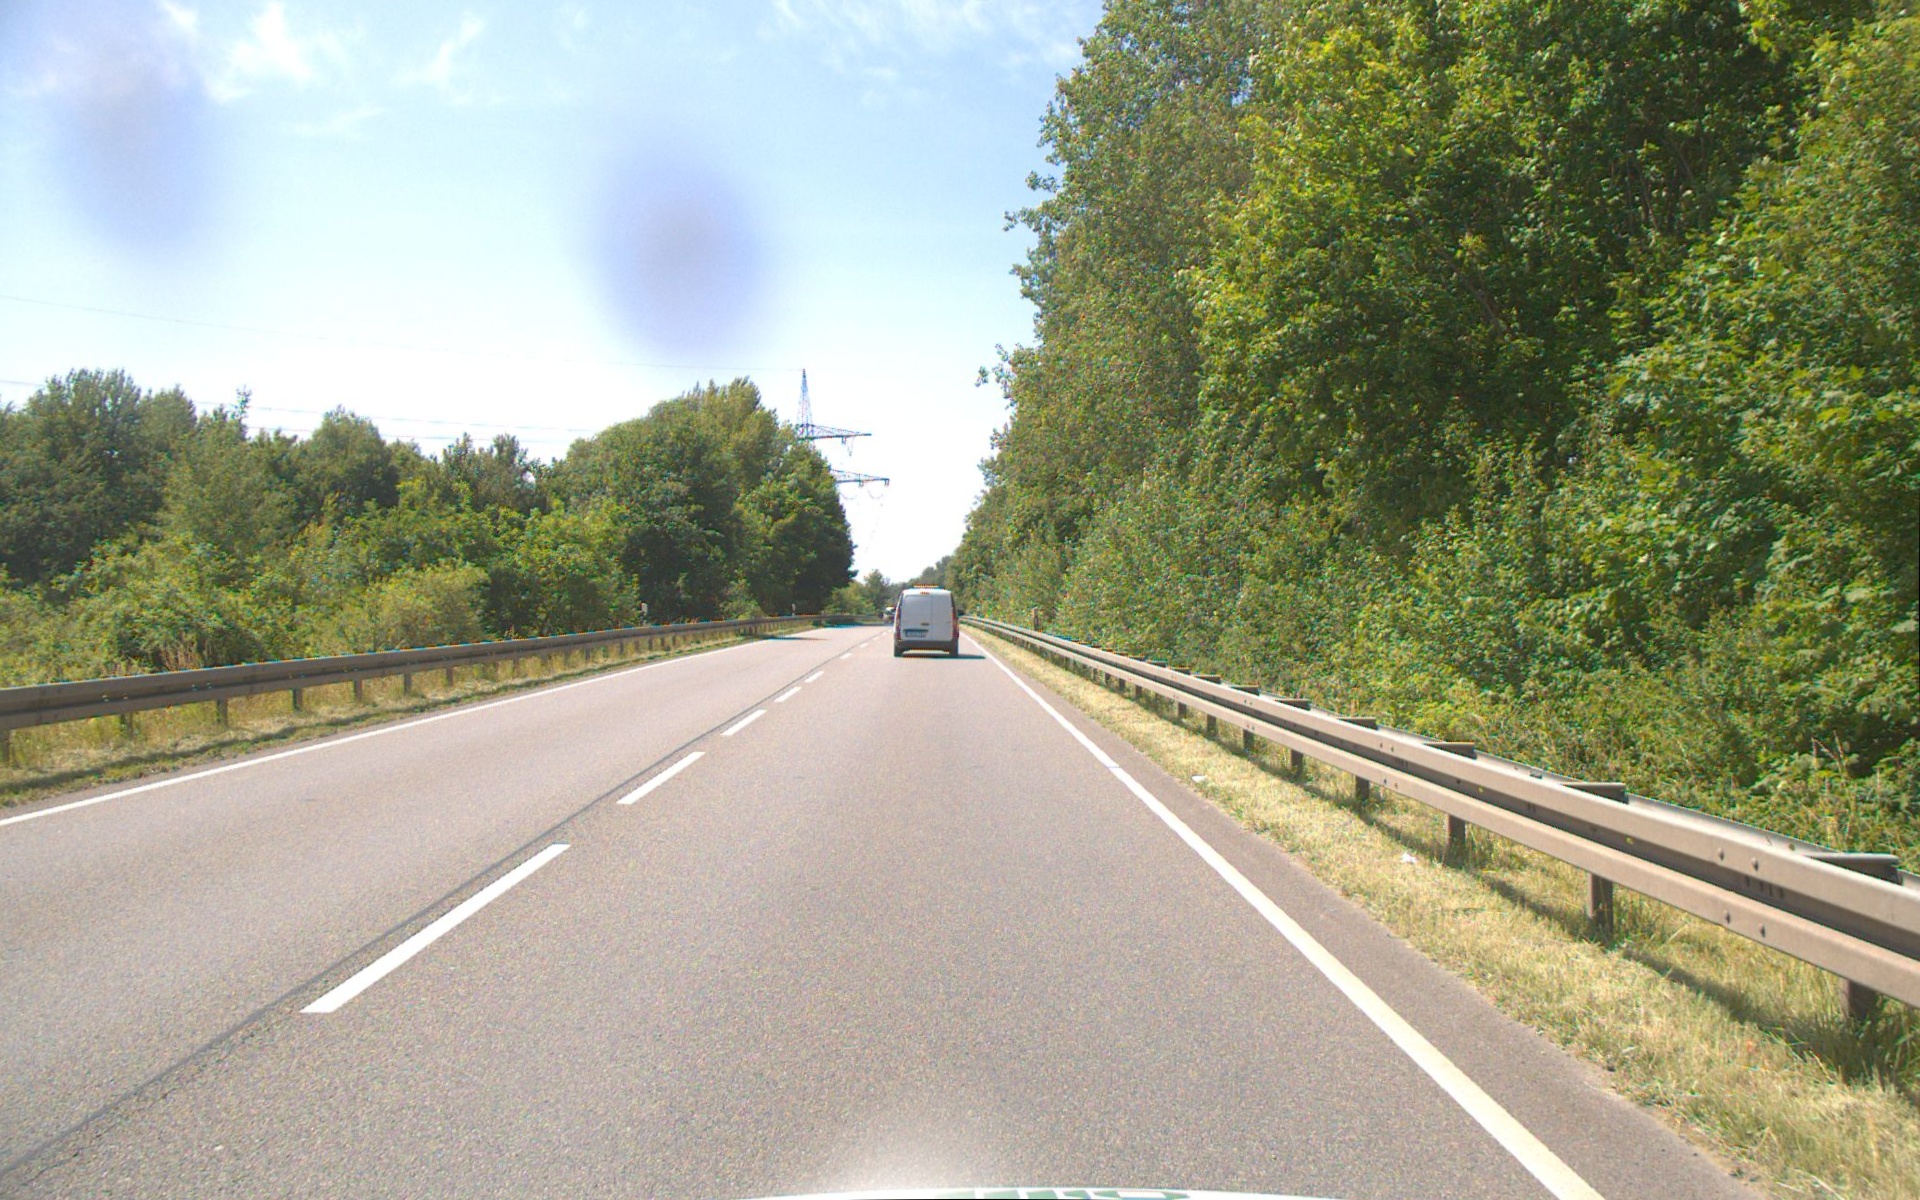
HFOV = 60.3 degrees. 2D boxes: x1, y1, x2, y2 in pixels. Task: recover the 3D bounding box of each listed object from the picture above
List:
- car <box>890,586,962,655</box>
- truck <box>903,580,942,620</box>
[{"bbox_3d":[-0.927,0.538,45.013,1.837,1.772,3.999,1,0,-2],"label":"car"},{"bbox_3d":[-3.268,-0.004,143.442,3.230,3.227,14.400,1,0,-1],"label":"truck"}]
